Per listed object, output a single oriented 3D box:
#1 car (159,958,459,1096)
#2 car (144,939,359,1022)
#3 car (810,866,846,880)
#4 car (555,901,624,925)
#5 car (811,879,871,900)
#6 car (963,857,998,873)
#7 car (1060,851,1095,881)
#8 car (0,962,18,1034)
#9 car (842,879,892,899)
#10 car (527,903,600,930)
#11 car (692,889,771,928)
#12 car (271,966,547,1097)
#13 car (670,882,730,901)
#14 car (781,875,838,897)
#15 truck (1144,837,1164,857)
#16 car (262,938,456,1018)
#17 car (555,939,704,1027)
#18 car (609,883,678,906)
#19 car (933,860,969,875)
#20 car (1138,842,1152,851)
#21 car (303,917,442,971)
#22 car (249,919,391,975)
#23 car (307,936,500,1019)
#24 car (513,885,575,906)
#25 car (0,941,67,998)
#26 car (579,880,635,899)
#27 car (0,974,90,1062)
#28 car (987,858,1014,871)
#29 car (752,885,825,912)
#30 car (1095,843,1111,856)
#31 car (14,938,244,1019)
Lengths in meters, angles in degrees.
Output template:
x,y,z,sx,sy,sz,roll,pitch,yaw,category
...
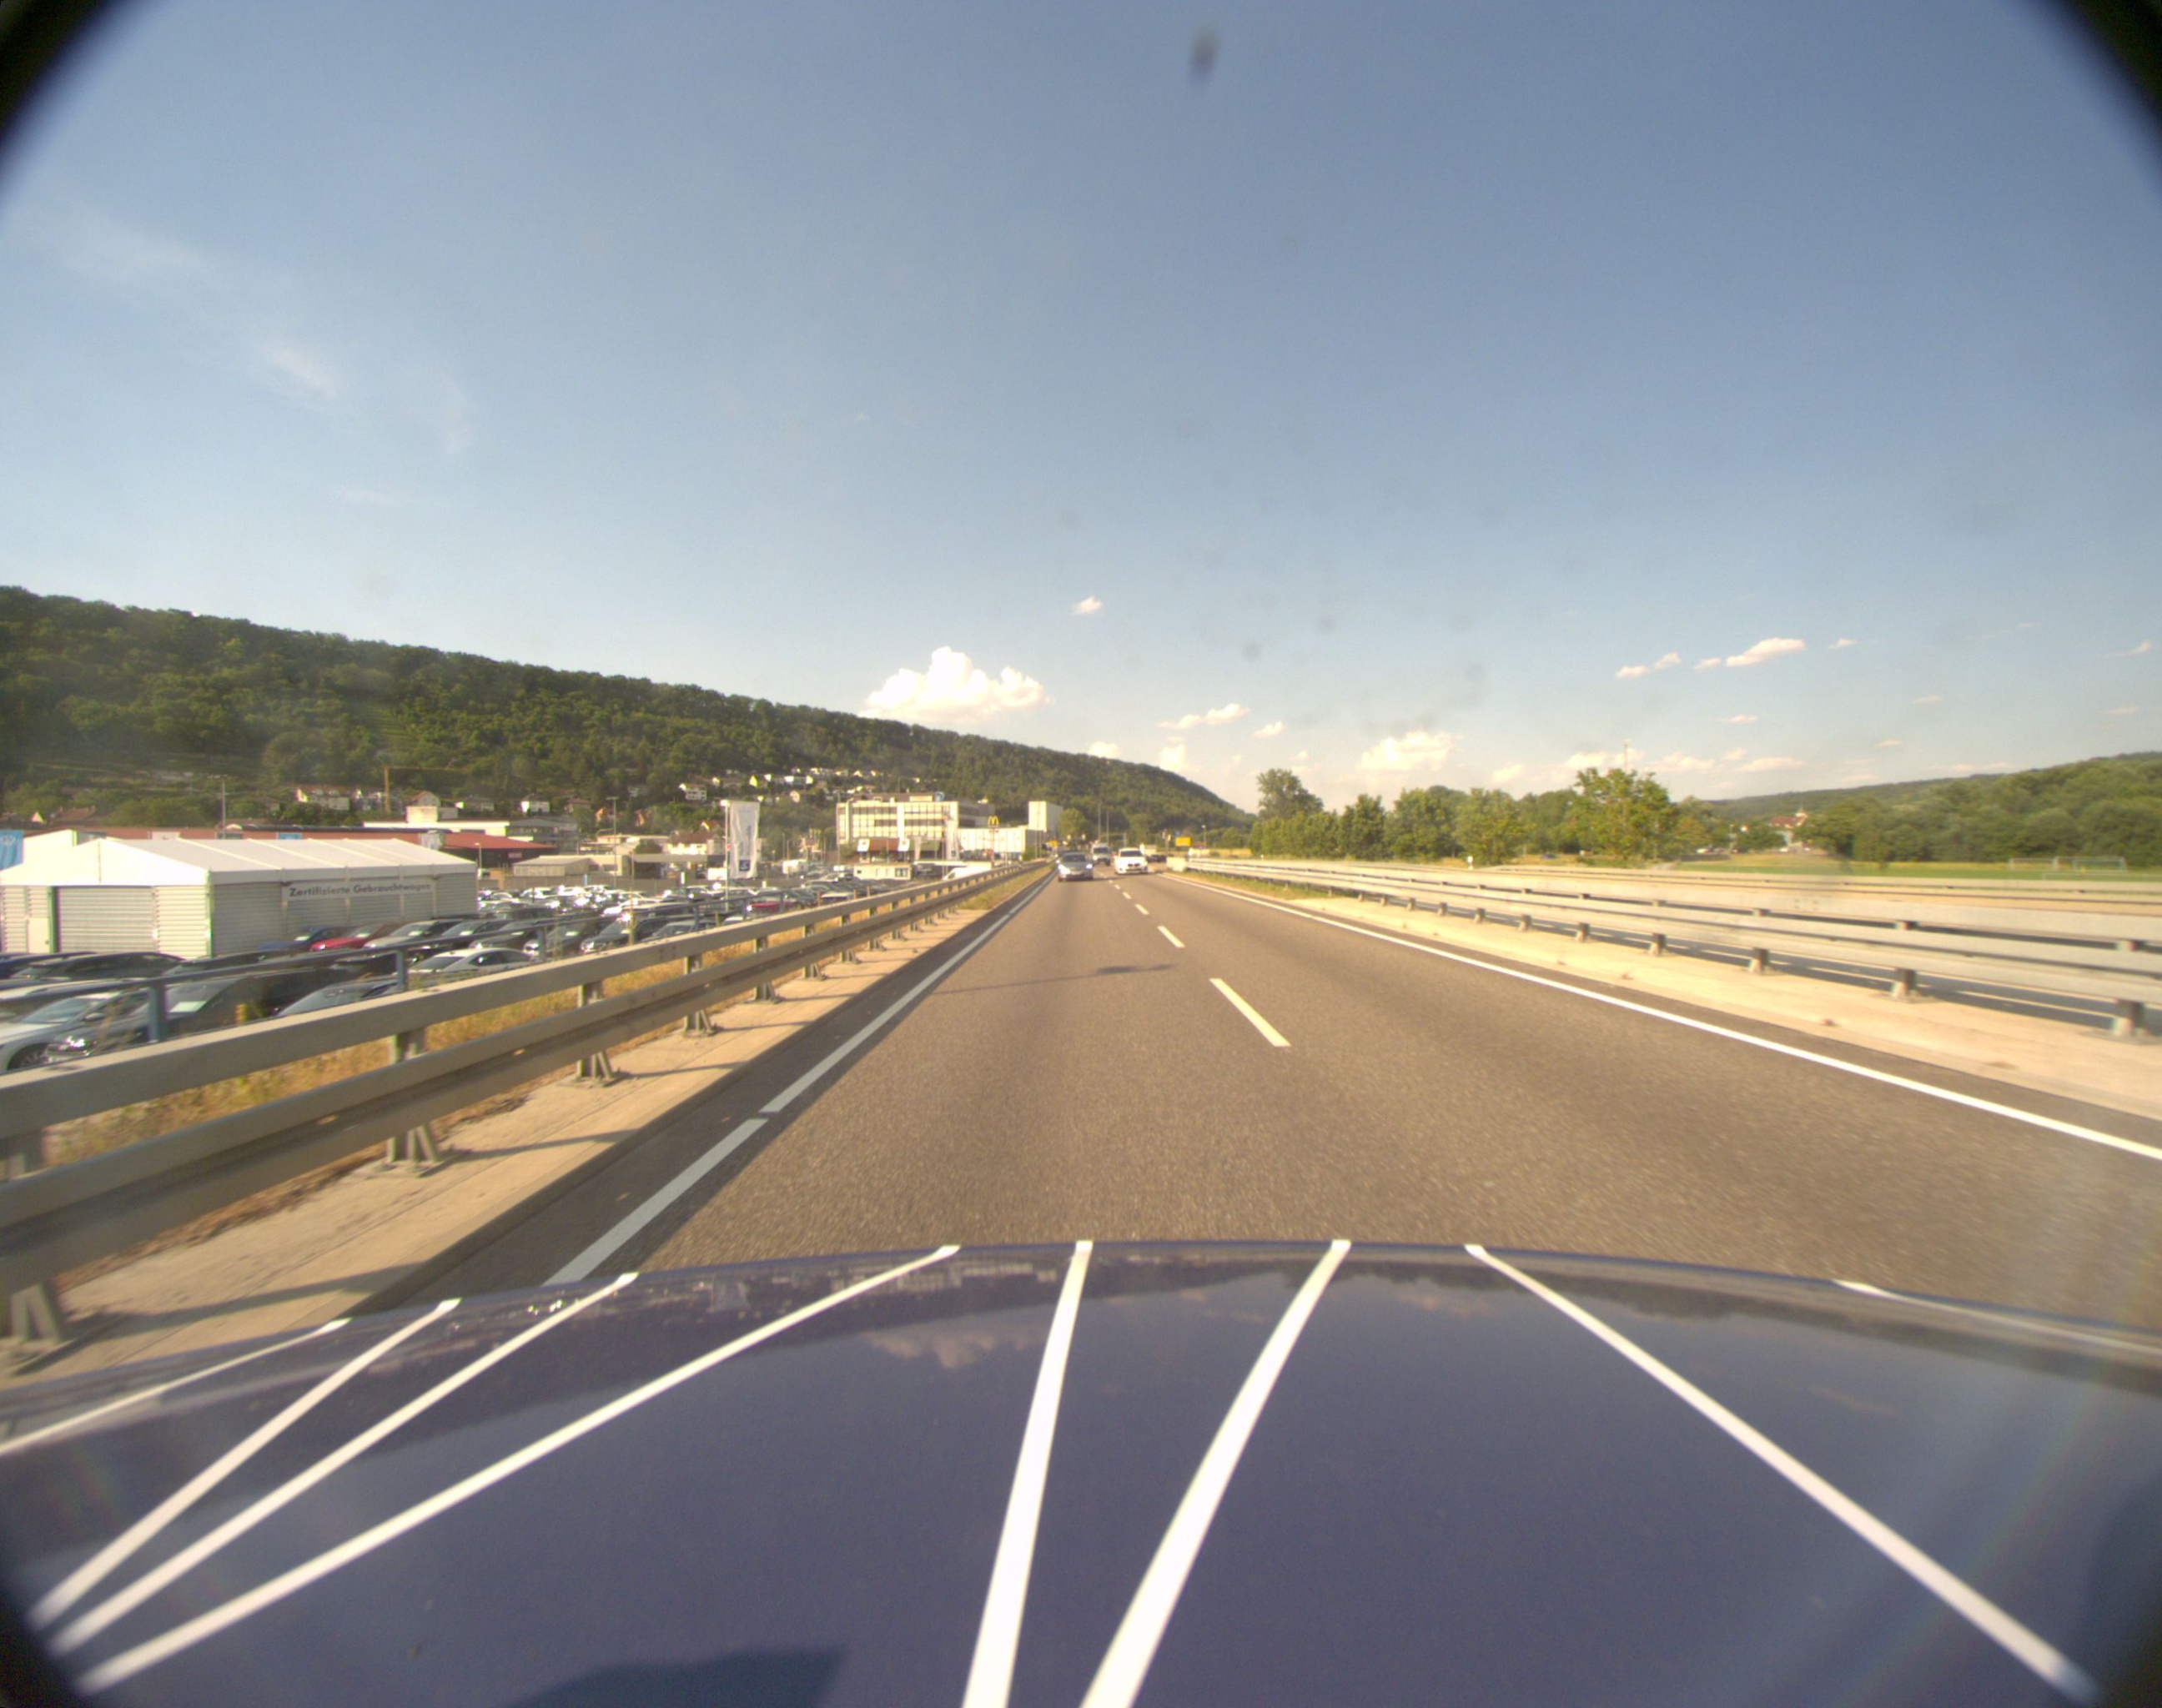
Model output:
x,y,z,sx,sy,sz,roll,pitch,yaw,category
-15.020,3.278,15.178,1.779,1.674,3.999,-2,2,1,car
-24.676,3.701,22.851,1.778,1.674,4.001,-2,2,7,car
-32.154,2.437,96.568,3.996,1.648,1.805,0,2,4,car
-35.312,4.250,54.641,3.993,1.448,1.782,-2,2,12,car
-20.405,2.995,64.626,4.427,1.535,1.801,-2,2,8,car
-12.609,1.396,95.586,3.996,1.740,1.901,-2,2,2,car
-0.123,0.572,39.041,1.690,1.383,3.883,-1,2,1,car
-27.096,3.575,16.640,1.778,1.674,4.000,-2,2,6,car
-19.486,3.155,69.320,3.982,1.535,1.787,-2,2,4,car
-35.683,4.292,52.465,3.993,1.556,1.783,-2,2,11,car
-17.203,2.658,37.620,1.673,1.463,4.001,-2,2,7,car
-12.718,3.284,14.786,1.710,1.456,3.999,-2,2,0,car
-33.830,3.314,67.530,4.427,1.361,1.801,-2,2,8,car
-24.513,2.901,68.646,4.427,1.704,1.801,-2,2,8,car
13.926,-1.472,145.968,2.940,3.669,10.496,1,2,1,truck
-21.830,3.692,23.225,1.778,1.674,4.001,-2,2,7,car
-12.480,3.506,21.314,1.616,1.669,3.836,-2,2,3,car
-34.516,3.218,60.003,4.427,1.535,1.801,-2,2,8,car
-17.265,1.814,101.097,4.332,1.740,2.131,-2,2,2,car
10.490,-1.178,124.697,1.720,1.455,4.725,1,0,-1,car
-29.855,3.746,32.210,1.778,1.674,4.001,-2,2,7,car
-32.242,3.894,32.366,1.778,1.674,4.001,2,2,7,car
-19.816,3.545,22.490,1.778,1.674,4.001,-2,2,7,car
-46.460,3.586,65.719,4.338,1.535,1.802,-2,2,12,car
-36.816,3.981,24.798,1.778,1.674,4.001,-2,2,7,car
-45.633,3.380,73.160,4.339,1.535,1.801,-2,2,8,car
-24.687,3.782,16.126,1.778,1.674,4.001,-2,2,7,car
-12.781,1.670,120.903,3.996,1.806,1.834,-2,2,2,car
-20.951,3.180,54.494,4.427,1.657,1.842,-2,2,8,car
2.374,-0.489,84.055,1.690,1.383,3.883,-1,2,1,car
-29.061,3.741,23.429,1.778,1.674,4.001,-2,2,7,car
